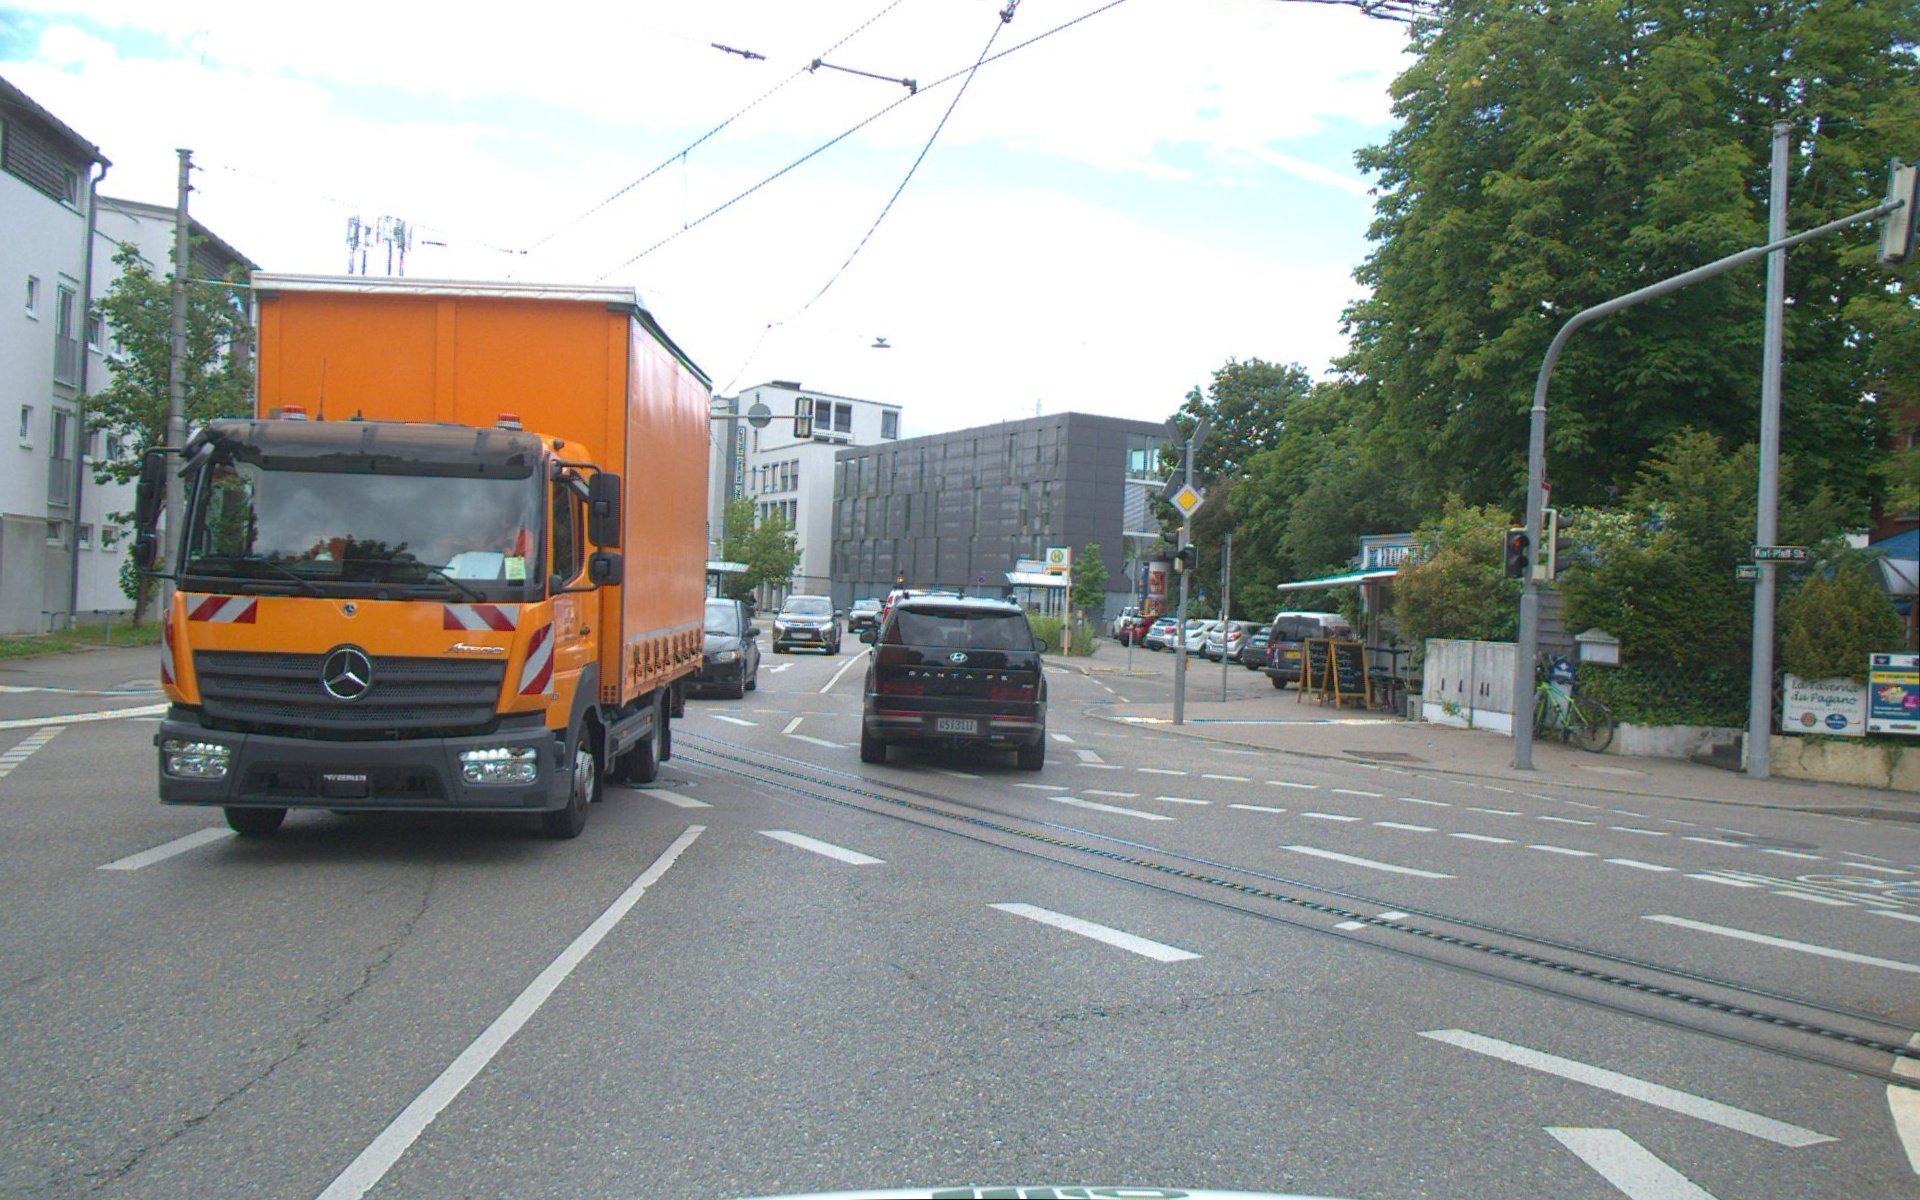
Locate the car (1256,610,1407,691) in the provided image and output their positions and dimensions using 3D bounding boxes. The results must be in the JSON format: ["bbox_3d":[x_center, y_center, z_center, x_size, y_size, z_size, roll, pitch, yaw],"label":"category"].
[{"bbox_3d":[9.096,1.218,40.242,1.815,1.779,4.676,2,0,36],"label":"car"}]

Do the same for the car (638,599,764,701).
[{"bbox_3d":[-4.148,0.766,26.939,1.641,1.532,3.731,1,0,-3],"label":"car"}]

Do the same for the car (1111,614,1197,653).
[{"bbox_3d":[8.634,1.491,73.676,3.454,1.480,1.665,5,-1,-29],"label":"car"}]

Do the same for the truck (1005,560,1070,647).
[{"bbox_3d":[3.412,0.167,74.643,2.520,3.586,7.810,3,0,1],"label":"truck"}]

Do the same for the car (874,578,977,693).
[{"bbox_3d":[-0.761,0.663,33.121,1.819,2.069,4.434,2,0,-4],"label":"car"}]

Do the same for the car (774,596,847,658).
[{"bbox_3d":[-4.335,0.768,48.359,1.752,1.690,4.275,2,0,-1],"label":"car"}]

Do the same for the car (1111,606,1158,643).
[{"bbox_3d":[9.276,1.327,88.358,1.953,1.870,4.516,1,-1,-1],"label":"car"}]

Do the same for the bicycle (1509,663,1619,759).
[{"bbox_3d":[8.906,1.614,24.468,0.538,1.158,1.873,3,3,-13],"label":"bicycle"}]

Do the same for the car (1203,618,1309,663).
[{"bbox_3d":[10.311,1.409,57.593,3.471,1.402,1.531,2,1,-32],"label":"car"}]

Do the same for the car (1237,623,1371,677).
[{"bbox_3d":[10.882,1.582,52.213,3.950,1.503,1.859,3,-1,-33],"label":"car"}]

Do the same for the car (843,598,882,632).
[{"bbox_3d":[-4.802,0.720,81.723,1.704,1.586,4.182,2,-1,-2],"label":"car"}]

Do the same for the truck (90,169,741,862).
[{"bbox_3d":[-3.540,-0.427,13.330,2.713,3.784,8.464,0,-1,-2],"label":"truck"}]

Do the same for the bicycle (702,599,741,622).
[{"bbox_3d":[-13.584,0.591,94.235,2.056,1.125,0.631,4,-1,1],"label":"bicycle"}]

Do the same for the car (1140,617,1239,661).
[{"bbox_3d":[9.517,1.620,68.513,3.753,1.499,1.780,5,-2,-31],"label":"car"}]

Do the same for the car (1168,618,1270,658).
[{"bbox_3d":[9.783,1.443,62.486,3.597,1.460,1.577,1,-1,-28],"label":"car"}]

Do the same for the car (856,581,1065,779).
[{"bbox_3d":[-0.097,0.765,17.852,1.877,1.755,4.168,4,0,-3],"label":"car"}]
